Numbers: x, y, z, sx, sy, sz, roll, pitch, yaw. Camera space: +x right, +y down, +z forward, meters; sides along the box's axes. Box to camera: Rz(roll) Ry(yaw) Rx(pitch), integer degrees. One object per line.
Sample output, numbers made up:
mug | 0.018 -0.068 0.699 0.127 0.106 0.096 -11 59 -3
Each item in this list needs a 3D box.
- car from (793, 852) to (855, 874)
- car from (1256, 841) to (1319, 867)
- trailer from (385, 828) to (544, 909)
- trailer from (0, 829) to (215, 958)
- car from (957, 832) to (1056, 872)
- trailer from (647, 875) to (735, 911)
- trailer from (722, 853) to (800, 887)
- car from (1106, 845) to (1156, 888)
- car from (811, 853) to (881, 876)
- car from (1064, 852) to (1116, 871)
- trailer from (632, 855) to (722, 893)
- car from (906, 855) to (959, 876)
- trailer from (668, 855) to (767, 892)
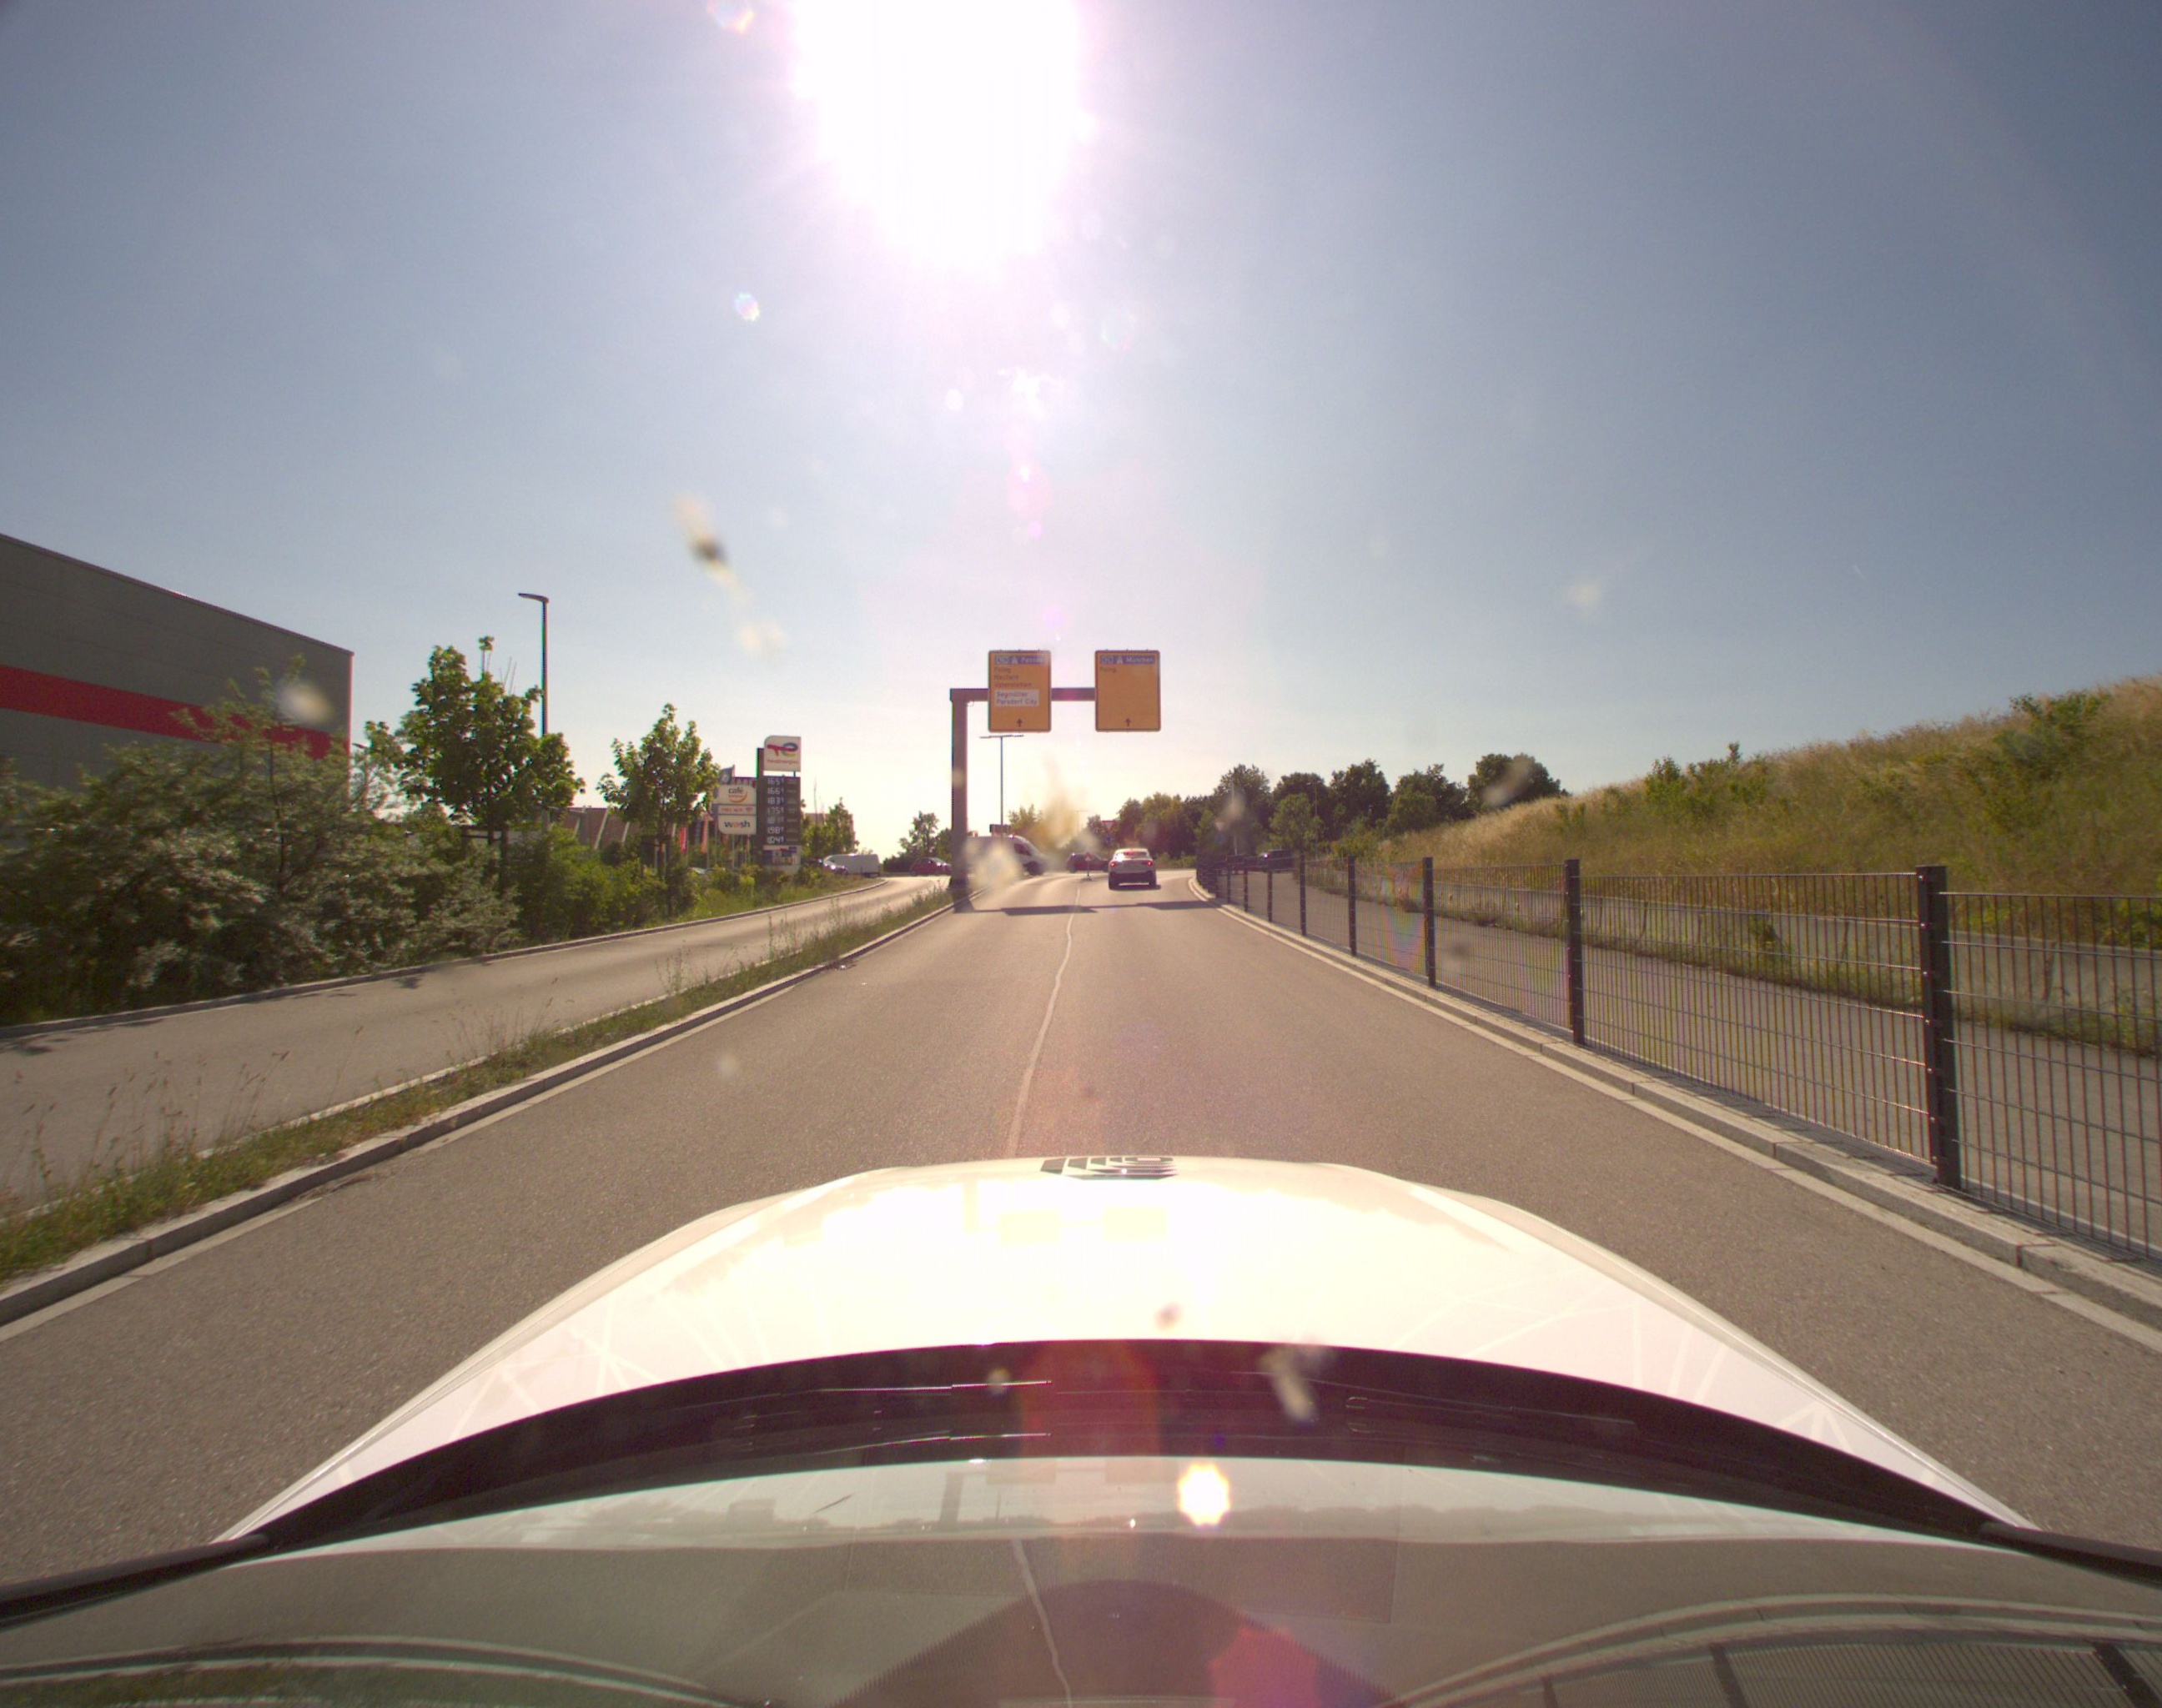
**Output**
car | -18.881 0.639 59.862 3.929 1.618 1.821 0 -1 5
car | 14.204 0.011 56.091 3.834 1.717 1.999 0 -1 -2
trailer | -16.505 0.382 22.011 3.251 2.014 1.730 0 -1 -32
trailer | -16.997 0.623 13.732 2.743 2.014 1.982 0 -1 -28
car | -4.861 -0.120 53.561 6.132 2.554 2.097 0 -1 11
trailer | -15.249 1.515 31.972 2.909 1.322 1.382 0 -1 -17
trailer | -17.920 0.871 45.592 3.712 1.772 1.788 -2 0 -35
car | 2.022 0.505 32.944 1.833 1.596 4.329 -1 -1 3
car | -23.121 1.047 80.352 6.299 2.234 2.018 0 -1 -35
car | 0.662 0.538 60.657 3.793 1.405 1.626 0 -1 -1
trailer | -19.660 0.966 39.654 3.712 1.772 1.788 0 -1 -35
car | -11.583 0.867 63.511 3.688 1.618 1.884 0 -1 27
trailer | -16.090 0.879 36.105 3.711 1.452 1.690 4 -3 -35
